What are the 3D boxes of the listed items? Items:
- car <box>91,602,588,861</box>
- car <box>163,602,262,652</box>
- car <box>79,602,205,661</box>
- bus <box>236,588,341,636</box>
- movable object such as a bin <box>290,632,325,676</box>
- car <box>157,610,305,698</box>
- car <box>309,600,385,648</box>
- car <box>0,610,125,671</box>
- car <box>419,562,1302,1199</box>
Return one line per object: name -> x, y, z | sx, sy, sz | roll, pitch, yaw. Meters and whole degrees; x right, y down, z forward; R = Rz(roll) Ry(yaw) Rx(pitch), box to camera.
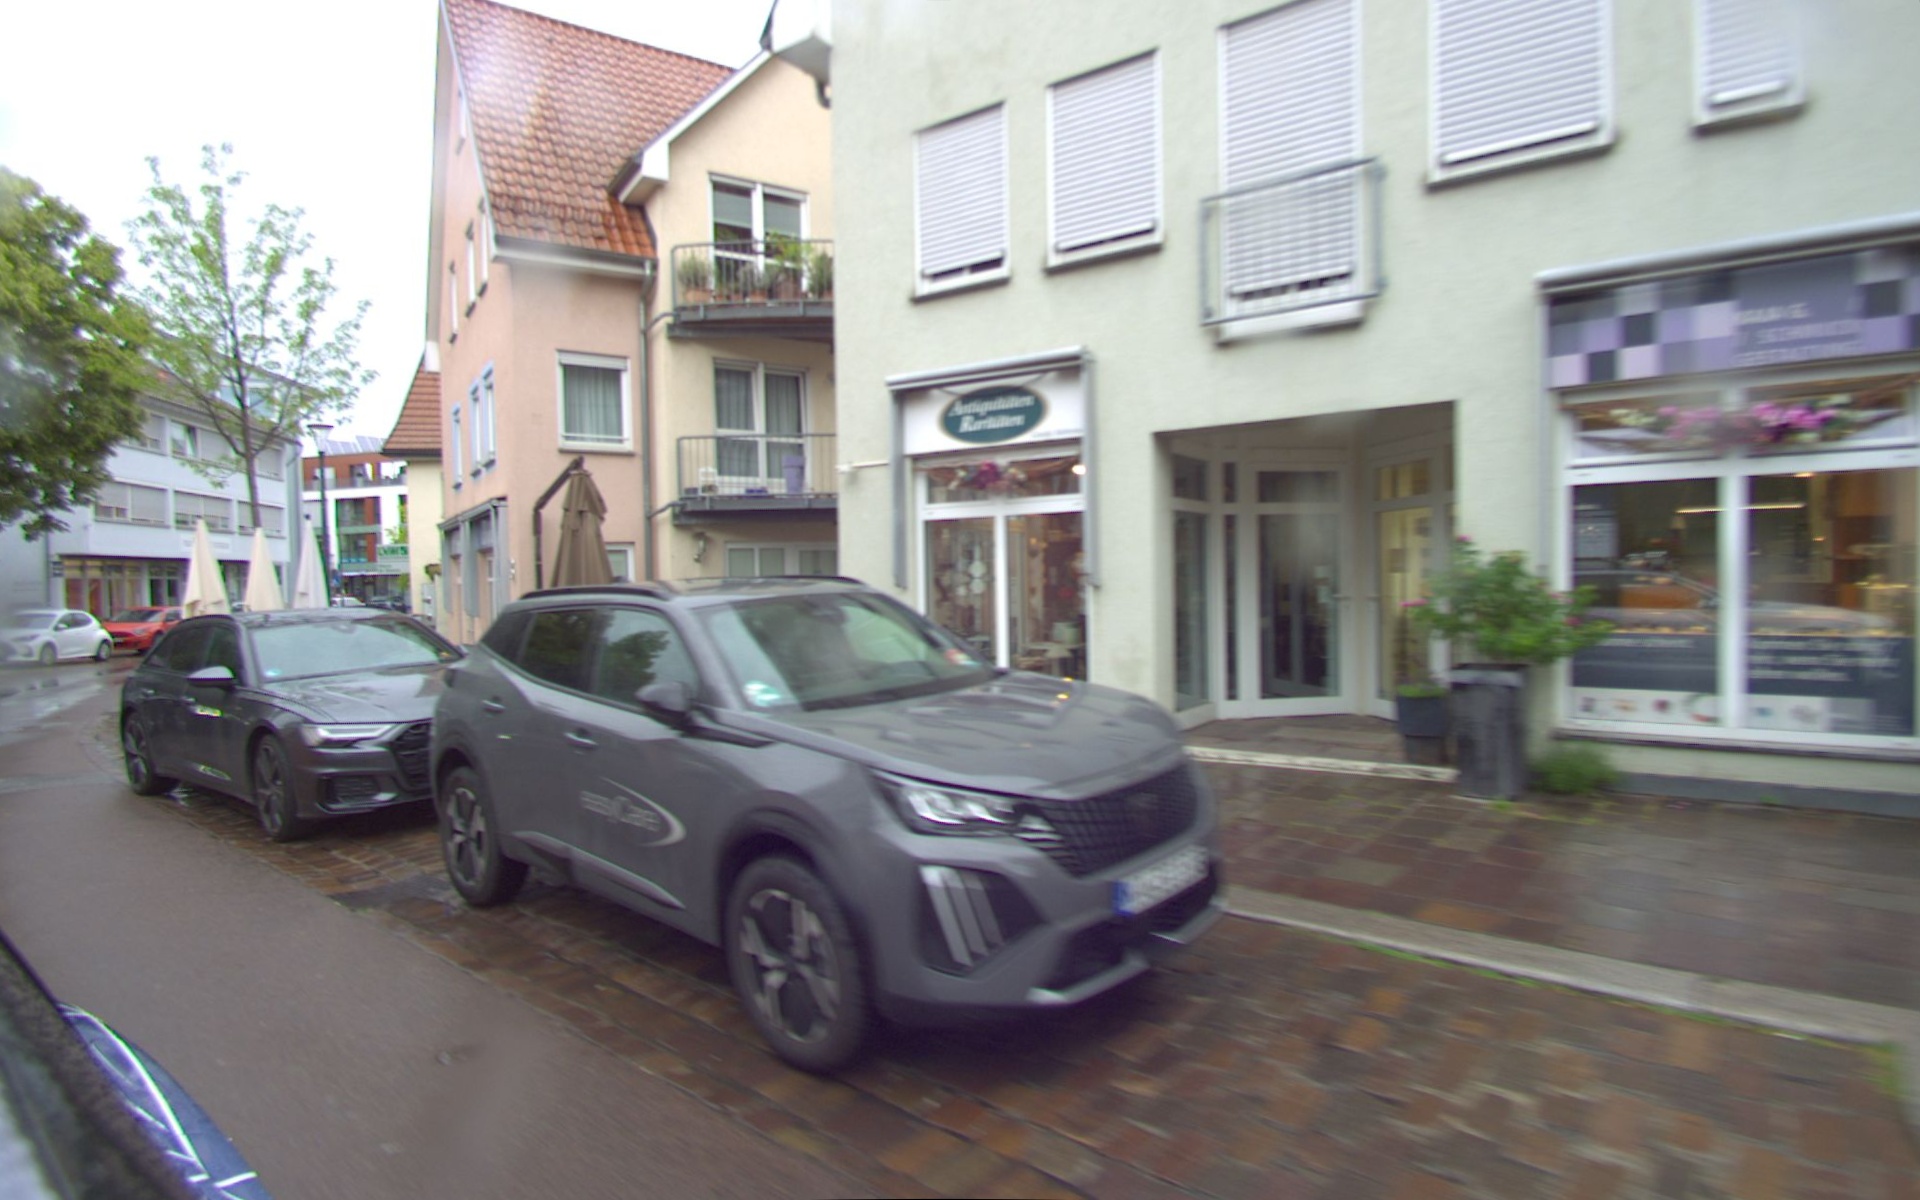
car -> -5.053, 0.763, 7.968 | 4.620, 1.443, 1.785 | 0, 1, 37
car -> -28.189, 0.952, 38.299 | 1.666, 1.702, 4.292 | -1, 1, -17
car -> -26.466, 0.964, 32.900 | 1.667, 1.702, 3.969 | -1, 1, -15
bus -> -49.575, 0.786, 74.580 | 10.668, 3.325, 2.649 | 0, 1, 35
movable object such as a bin -> -17.556, 1.449, 27.244 | 0.650, 1.117, 0.626 | -1, 1, -21
car -> -14.738, 1.000, 20.700 | 1.966, 1.465, 4.388 | -1, 1, -30
car -> -19.967, 0.742, 33.091 | 1.666, 1.433, 3.829 | -1, 0, -25
car -> -25.131, 1.068, 27.802 | 1.667, 1.551, 4.415 | -1, -1, -15
car -> -0.766, 0.664, 4.385 | 3.977, 1.557, 1.575 | 0, 1, 43
